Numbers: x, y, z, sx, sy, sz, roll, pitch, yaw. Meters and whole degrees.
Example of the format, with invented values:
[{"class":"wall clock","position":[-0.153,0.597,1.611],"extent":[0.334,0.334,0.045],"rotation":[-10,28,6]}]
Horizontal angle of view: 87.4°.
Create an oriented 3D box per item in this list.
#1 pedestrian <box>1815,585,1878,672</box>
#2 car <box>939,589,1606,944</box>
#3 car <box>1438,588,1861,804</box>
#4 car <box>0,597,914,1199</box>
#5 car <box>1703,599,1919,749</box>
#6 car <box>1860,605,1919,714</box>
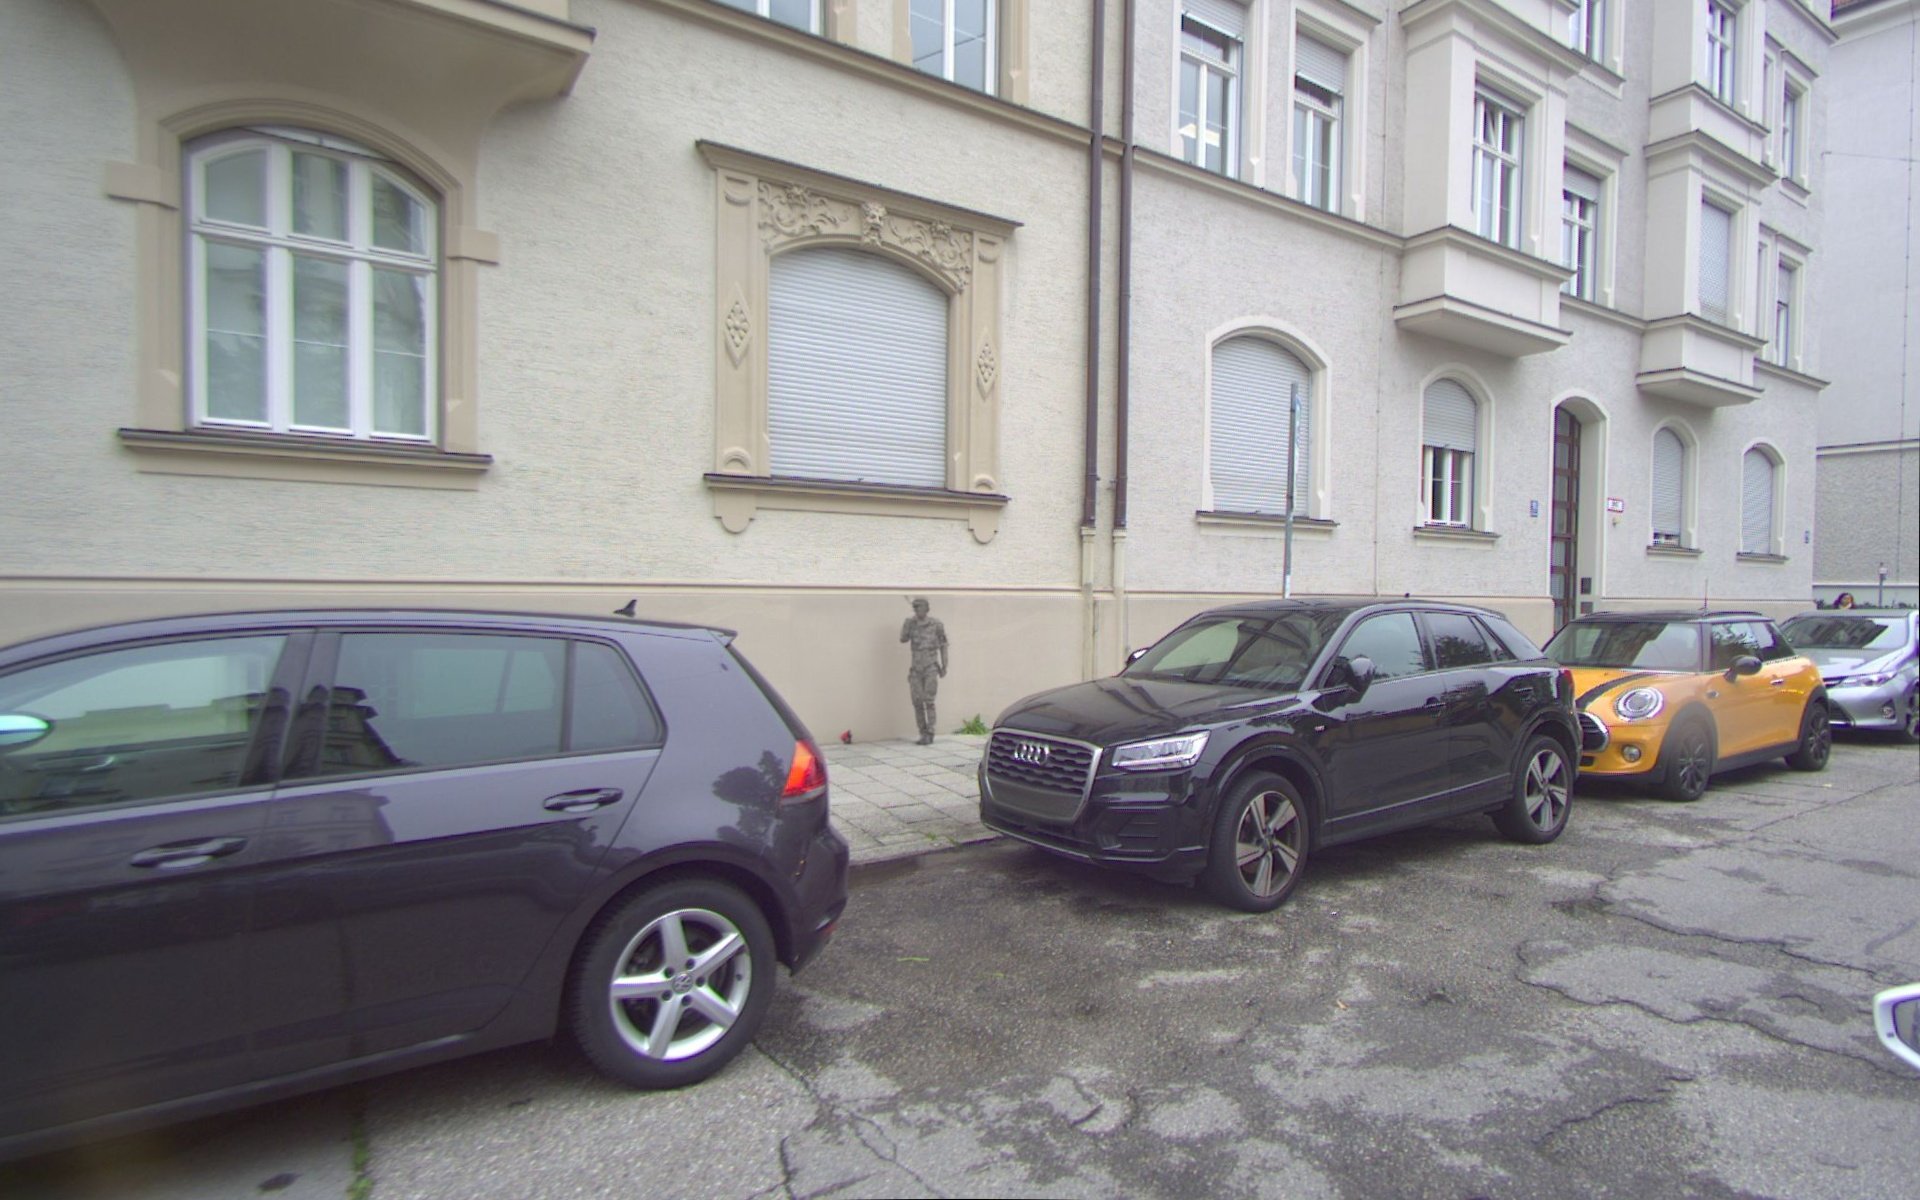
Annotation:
[{"class":"pedestrian","position":[17.784,0.560,20.154],"extent":[0.693,1.701,0.787],"rotation":[0,1,-34]},{"class":"car","position":[2.011,0.734,6.118],"extent":[3.974,1.519,1.743],"rotation":[0,-1,-33]},{"class":"car","position":[6.164,0.696,8.876],"extent":[3.927,1.519,1.632],"rotation":[-1,-1,-32]},{"class":"car","position":[-2.412,0.768,3.005],"extent":[4.198,1.455,1.826],"rotation":[-1,-1,-33]},{"class":"car","position":[10.717,0.770,11.993],"extent":[3.887,1.519,1.716],"rotation":[0,0,-33]},{"class":"car","position":[14.894,0.779,14.444],"extent":[4.227,1.457,1.826],"rotation":[-1,-1,-33]}]
